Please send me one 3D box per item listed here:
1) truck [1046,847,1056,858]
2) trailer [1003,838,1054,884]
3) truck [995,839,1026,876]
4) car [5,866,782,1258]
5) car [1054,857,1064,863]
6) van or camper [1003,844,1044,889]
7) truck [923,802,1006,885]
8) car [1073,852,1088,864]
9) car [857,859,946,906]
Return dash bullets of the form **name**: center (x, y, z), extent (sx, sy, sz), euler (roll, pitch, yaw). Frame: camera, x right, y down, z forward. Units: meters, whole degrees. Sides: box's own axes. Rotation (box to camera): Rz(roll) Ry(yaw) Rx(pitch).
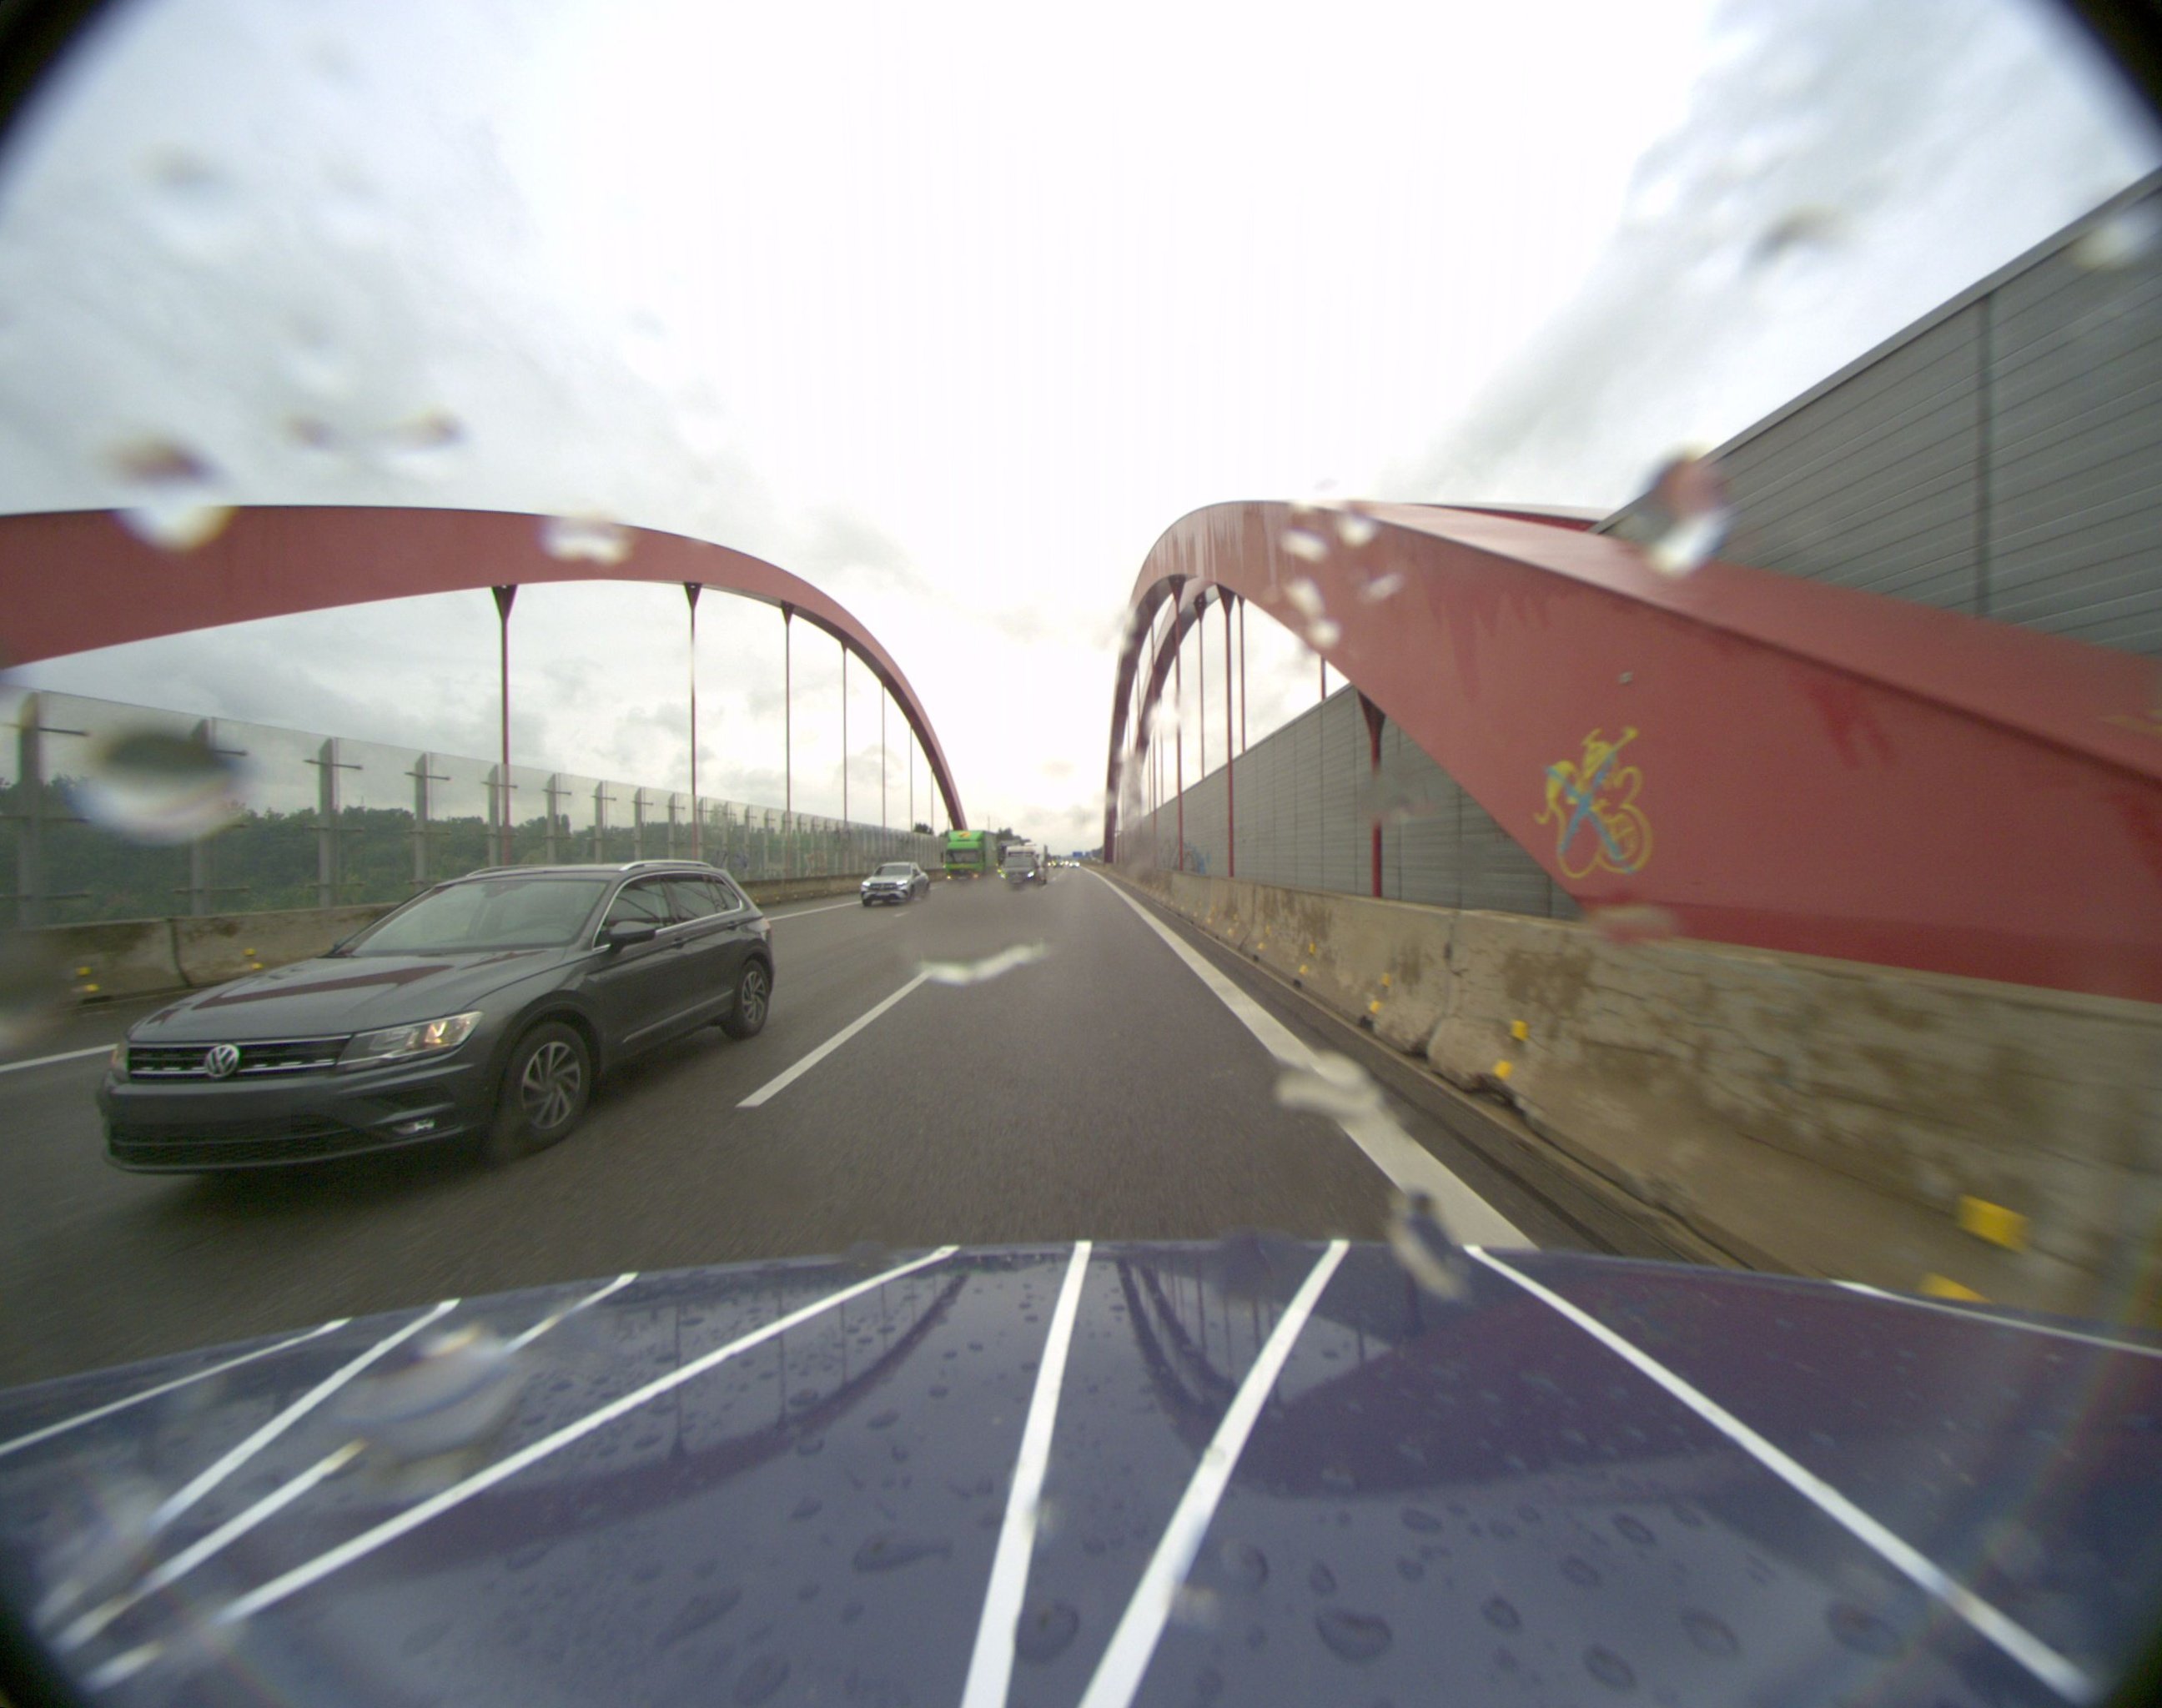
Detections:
- **truck**: center (-8.581, -0.374, 217.499), extent (2.617, 3.218, 4.632), euler (-1, 0, -2)
- **trailer**: center (-3.228, 0.432, 48.570), extent (2.728, 2.626, 7.511), euler (-1, 0, -1)
- **truck**: center (-7.933, 0.355, 86.772), extent (2.820, 3.927, 12.709), euler (-1, 0, -3)
- **car**: center (-3.942, 0.981, 5.535), extent (1.917, 1.660, 4.103), euler (-2, 0, -1)
- **car**: center (-4.736, 1.294, 162.297), extent (2.061, 1.020, 3.437), euler (-3, 0, -2)
- **van or camper**: center (-3.091, 0.655, 41.908), extent (1.895, 2.256, 5.678), euler (-2, 0, -1)
- **truck**: center (-8.108, -0.697, 54.819), extent (4.008, 5.235, 11.219), euler (-2, 0, 0)
- **car**: center (-0.126, 0.790, 158.018), extent (2.680, 2.340, 5.806), euler (-1, 0, -4)
- **car**: center (-7.133, 1.085, 30.837), extent (1.998, 1.610, 5.329), euler (-2, 0, 4)
